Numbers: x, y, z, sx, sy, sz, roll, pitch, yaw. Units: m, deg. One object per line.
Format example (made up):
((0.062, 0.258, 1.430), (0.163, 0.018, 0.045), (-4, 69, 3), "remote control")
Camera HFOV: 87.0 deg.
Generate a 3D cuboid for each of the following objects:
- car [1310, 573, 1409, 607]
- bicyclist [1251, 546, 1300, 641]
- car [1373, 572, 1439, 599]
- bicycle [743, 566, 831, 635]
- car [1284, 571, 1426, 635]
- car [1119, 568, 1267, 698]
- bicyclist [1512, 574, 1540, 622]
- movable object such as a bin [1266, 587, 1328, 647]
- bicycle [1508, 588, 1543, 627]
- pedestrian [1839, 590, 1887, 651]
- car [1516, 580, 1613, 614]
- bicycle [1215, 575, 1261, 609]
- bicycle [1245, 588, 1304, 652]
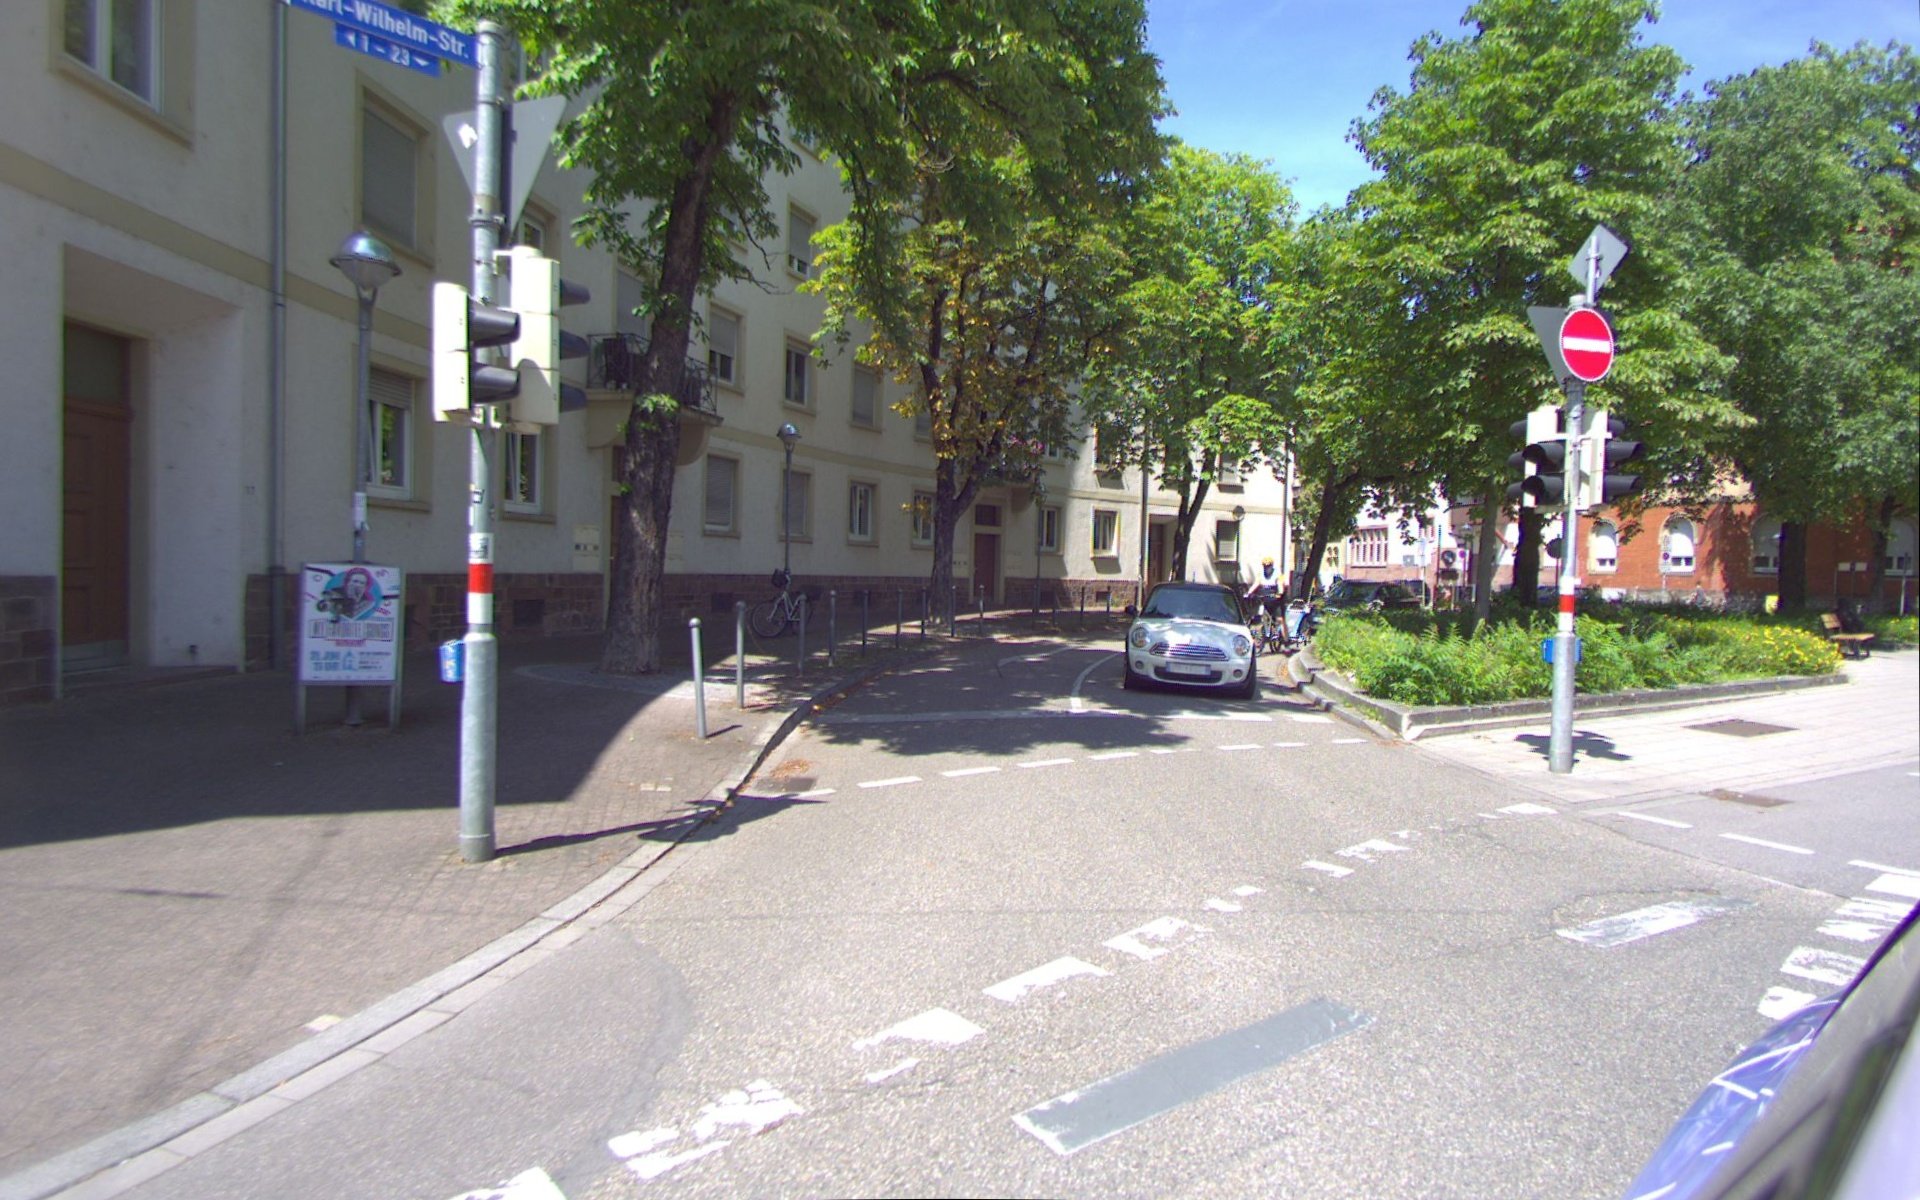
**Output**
((19.716, -0.503, 50.014), (4.231, 1.582, 1.647), (1, 1, -8), "car")
((6.153, -0.135, 19.710), (0.693, 1.788, 0.855), (2, 1, 31), "bicyclist")
((27.571, -0.913, 62.742), (1.669, 1.582, 4.253), (1, 2, -9), "car")
((-3.086, -0.018, 18.254), (0.634, 1.169, 1.788), (2, 2, 26), "bicycle")
((10.585, 0.054, 27.019), (3.990, 1.582, 1.614), (0, 2, -36), "car")
((3.260, 0.347, 14.122), (1.671, 1.463, 3.612), (4, 2, 14), "car")
((19.584, -0.083, 34.993), (0.638, 1.643, 0.850), (2, 1, 42), "bicyclist")
((7.089, 0.328, 21.226), (0.861, 1.169, 1.745), (2, 2, 31), "movable object such as a bin")
((19.558, 0.242, 34.995), (0.638, 1.309, 1.902), (2, 2, 41), "bicycle")
((17.855, 0.386, 20.016), (0.632, 1.164, 0.651), (0, 1, -44), "pedestrian")
((29.297, -0.179, 49.213), (1.611, 1.470, 4.327), (1, 2, -9), "car")
((9.917, -0.296, 36.105), (1.898, 1.169, 0.515), (0, 2, -37), "bicycle")
((6.147, 0.362, 19.718), (0.676, 1.169, 1.784), (2, 2, 31), "bicycle")
